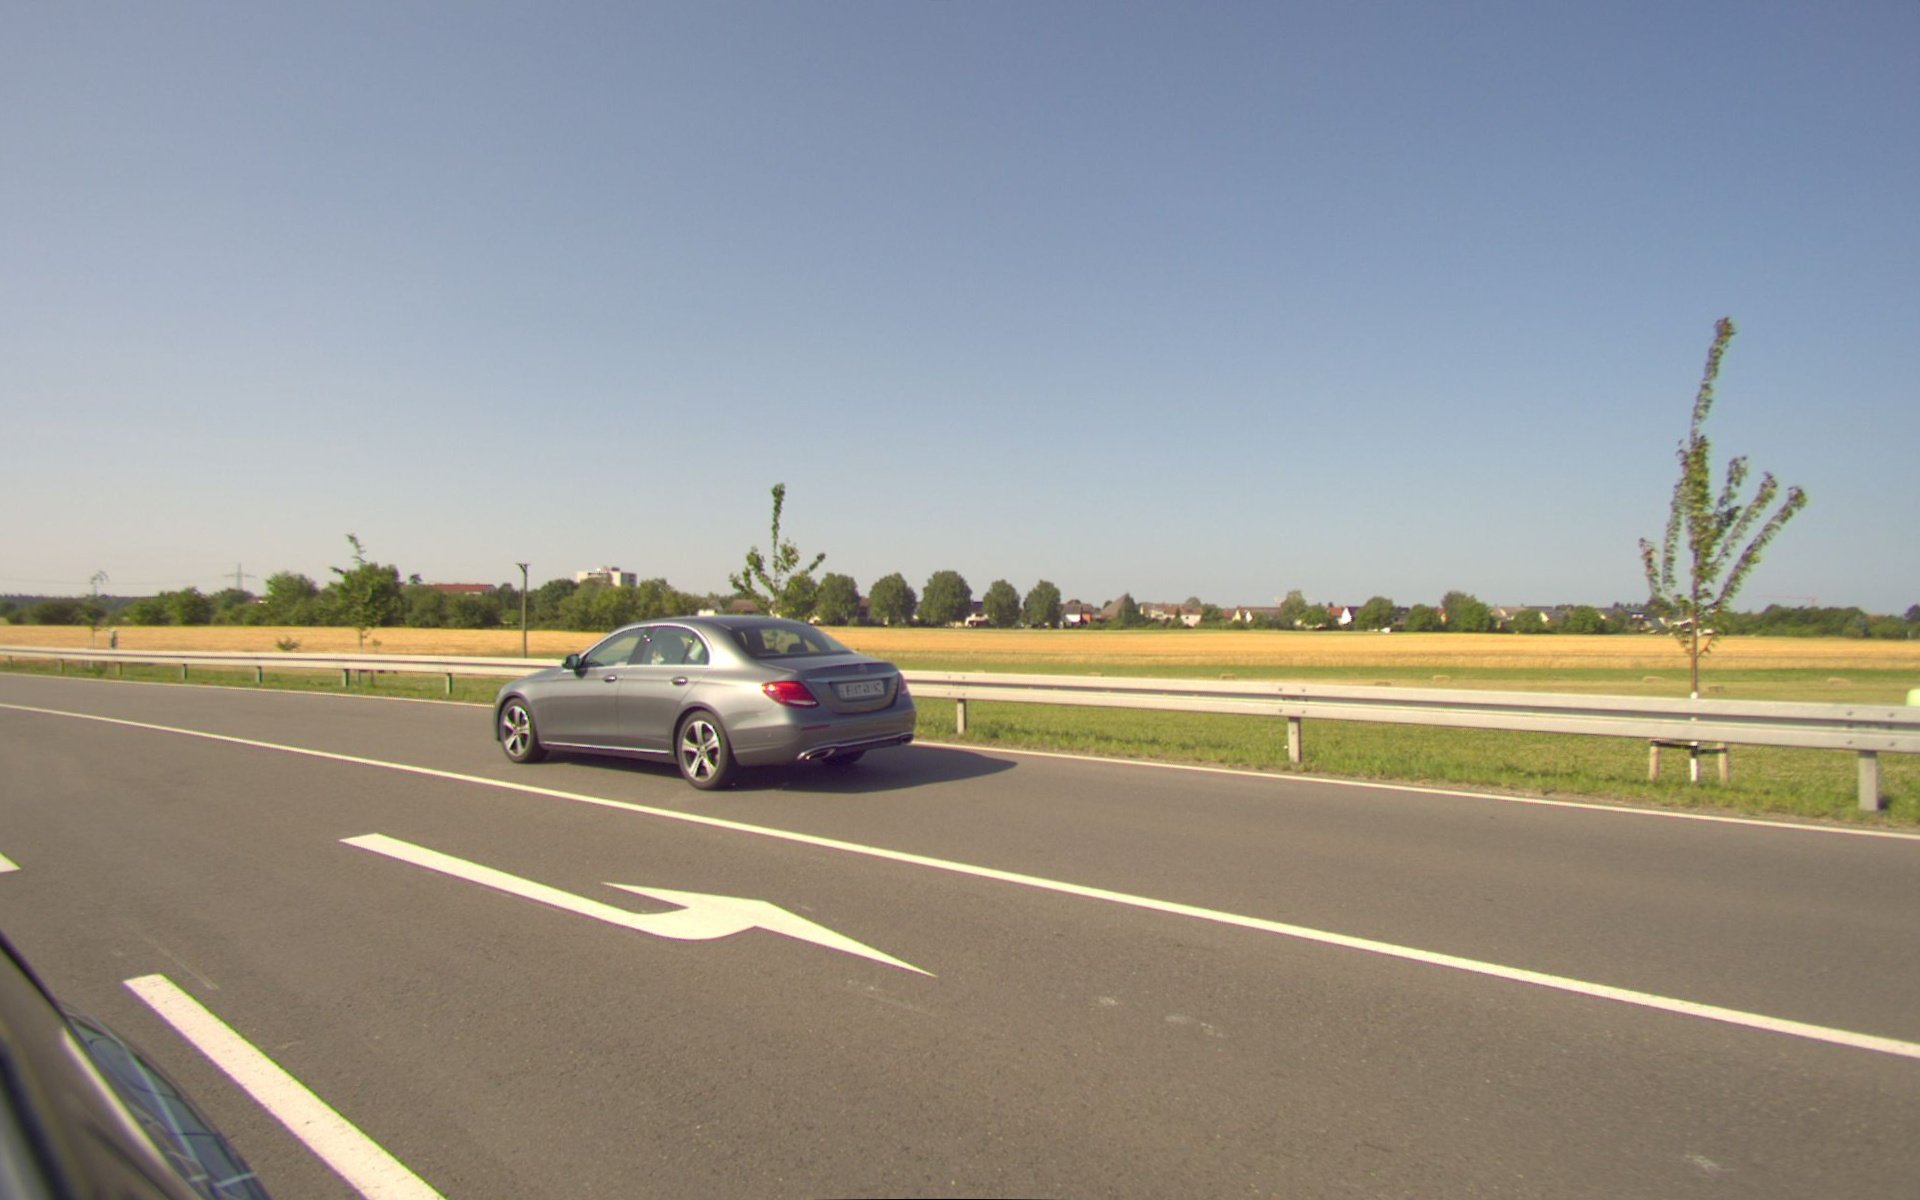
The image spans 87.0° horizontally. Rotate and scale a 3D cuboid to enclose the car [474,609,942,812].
[{"bbox_3d":[-2.563,0.858,9.621,4.698,1.459,1.778,-1,0,38],"label":"car"}]
